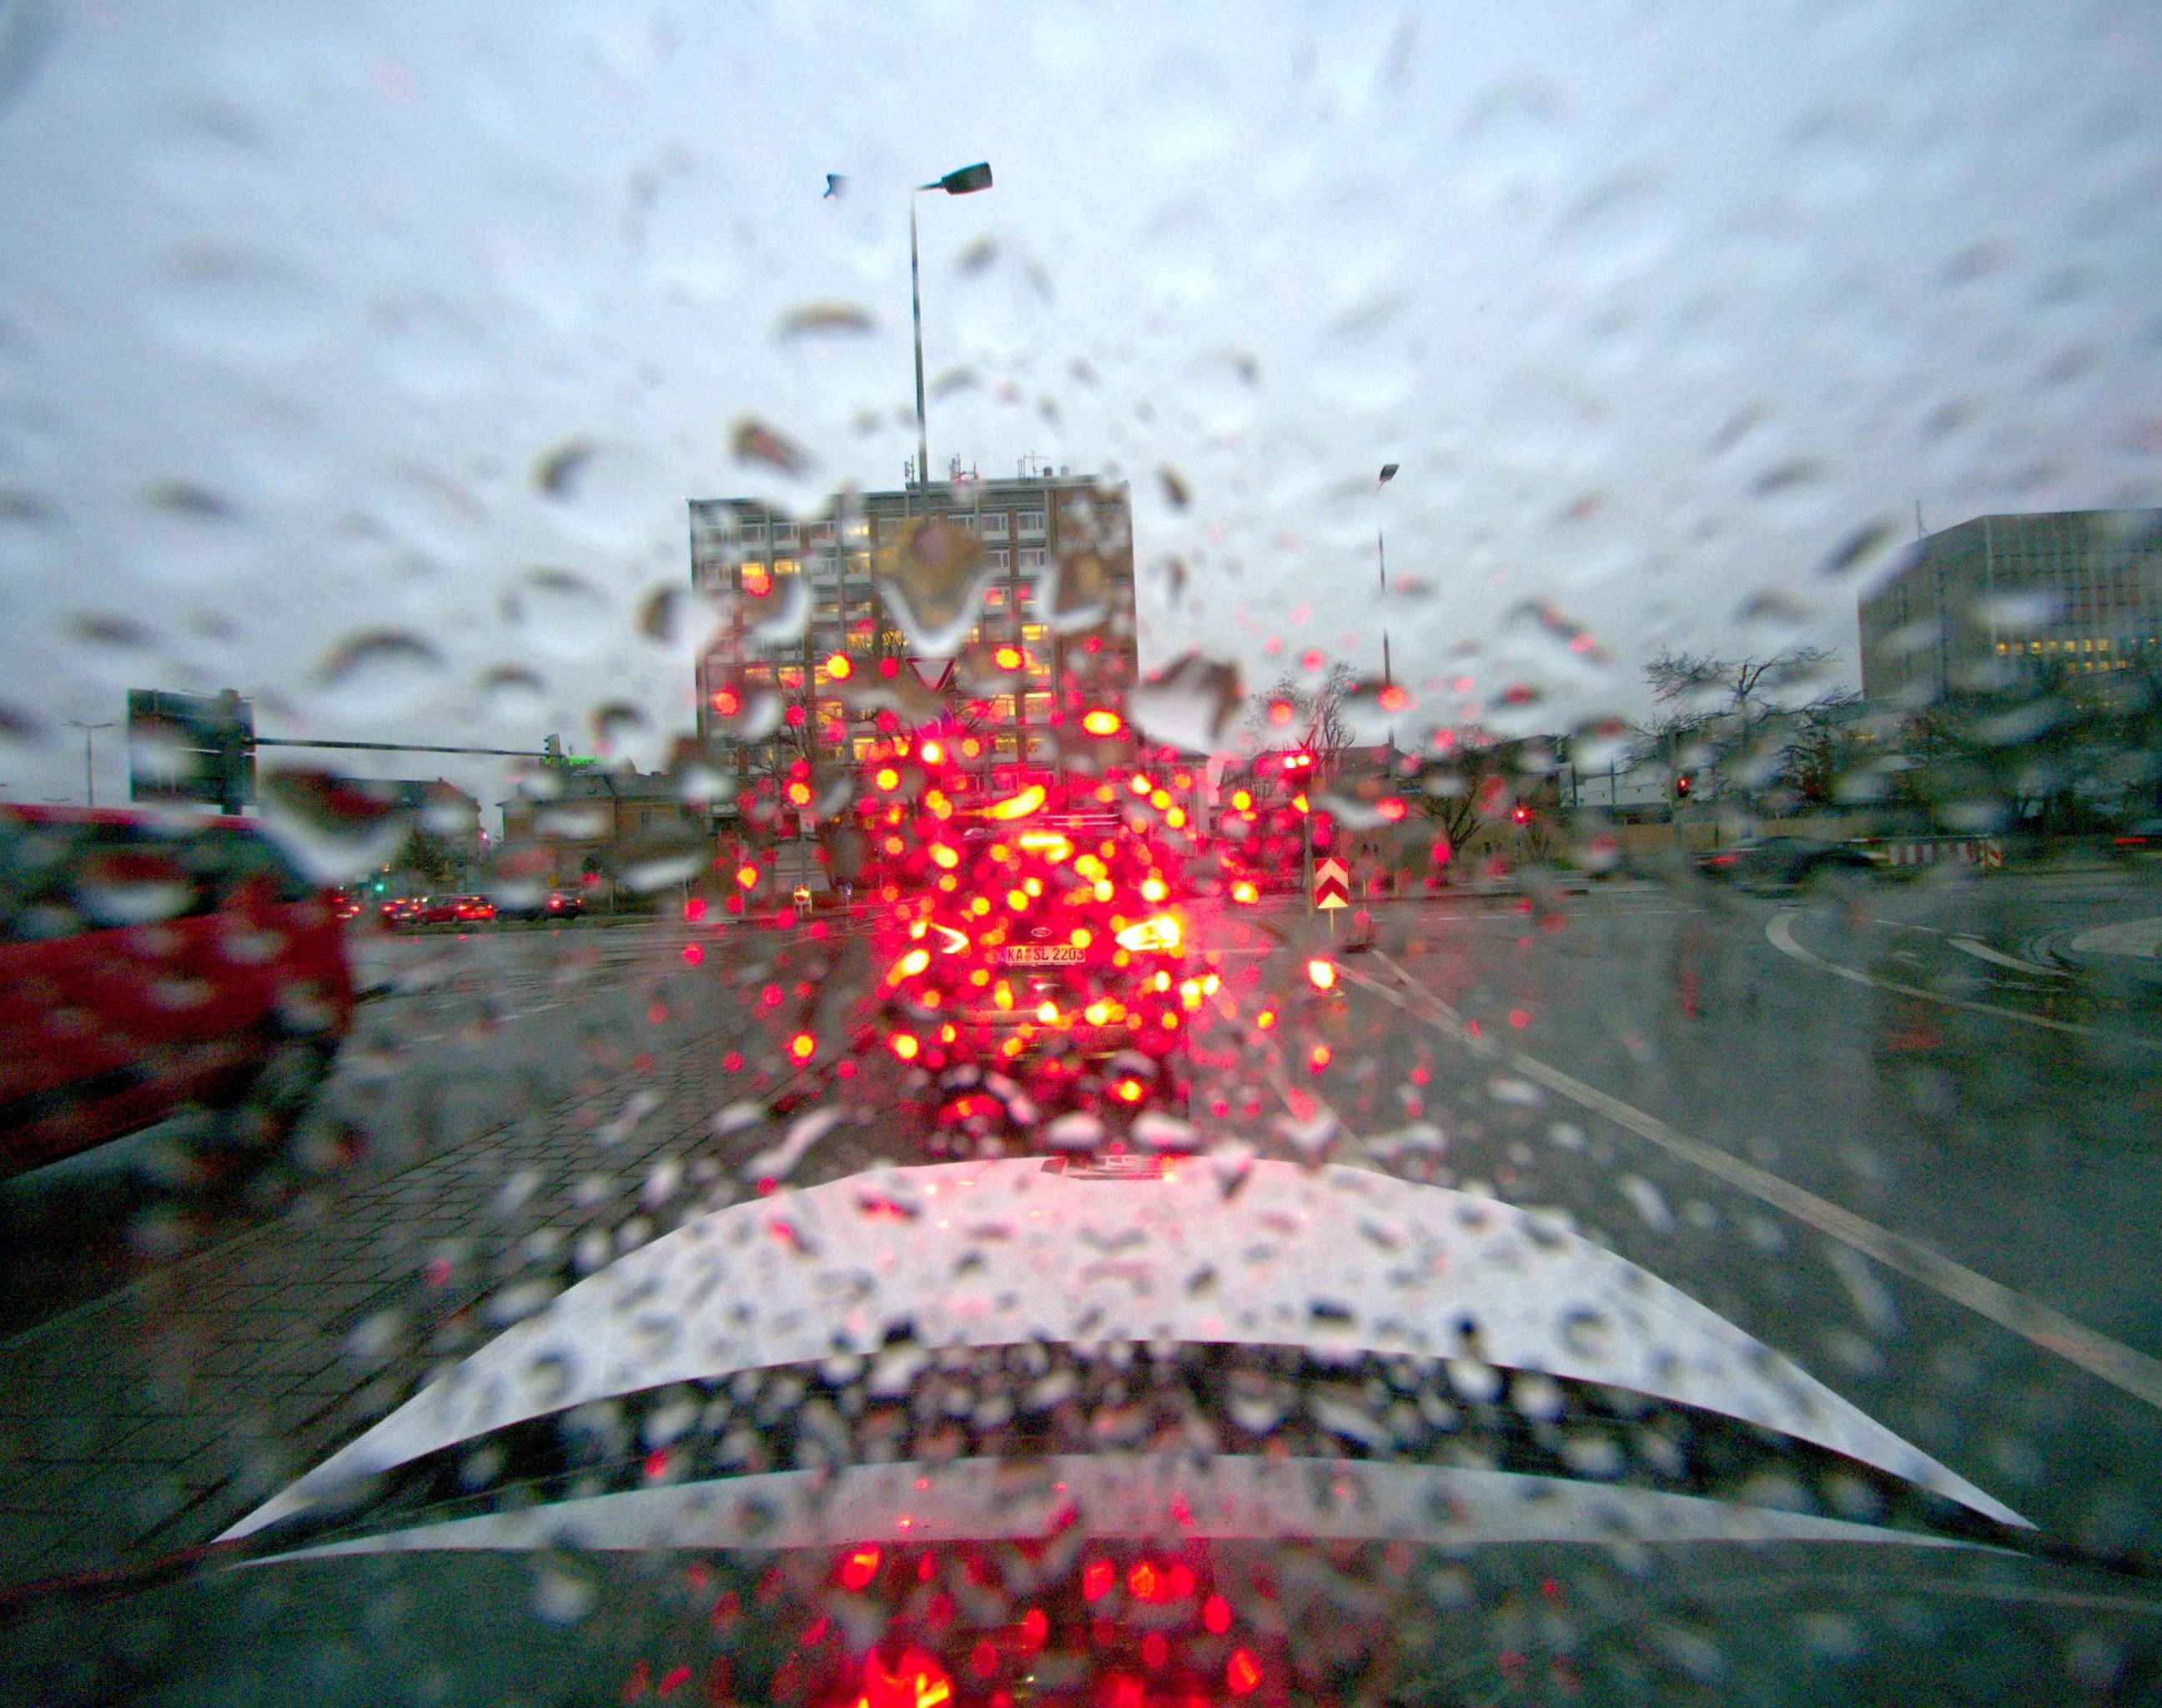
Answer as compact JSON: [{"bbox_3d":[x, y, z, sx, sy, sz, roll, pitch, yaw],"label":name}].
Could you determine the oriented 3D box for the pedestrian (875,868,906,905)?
[{"bbox_3d":[-10.097,1.723,43.194,0.992,1.842,1.146,-3,2,25],"label":"pedestrian"}]

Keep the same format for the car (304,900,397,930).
[{"bbox_3d":[-43.819,3.631,48.920,1.582,1.482,3.840,-1,-1,31],"label":"car"}]

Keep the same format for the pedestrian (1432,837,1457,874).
[{"bbox_3d":[18.512,0.087,41.522,0.988,1.799,0.924,-3,0,19],"label":"pedestrian"}]

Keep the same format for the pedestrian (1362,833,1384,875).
[{"bbox_3d":[14.975,-0.016,41.822,0.887,2.113,0.889,-3,0,13],"label":"pedestrian"}]

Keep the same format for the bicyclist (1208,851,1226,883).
[{"bbox_3d":[7.024,0.690,42.082,0.678,1.599,0.663,-3,0,23],"label":"bicyclist"}]

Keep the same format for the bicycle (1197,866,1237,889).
[{"bbox_3d":[7.043,1.208,42.094,1.866,1.048,0.663,-3,0,23],"label":"bicycle"}]

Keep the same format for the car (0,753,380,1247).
[{"bbox_3d":[-5.540,0.661,3.412,1.926,2.070,4.622,-3,0,-13],"label":"car"}]

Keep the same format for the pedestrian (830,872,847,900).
[{"bbox_3d":[-14.896,1.951,50.026,0.634,1.688,0.640,-3,0,18],"label":"pedestrian"}]

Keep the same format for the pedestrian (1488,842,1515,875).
[{"bbox_3d":[20.683,0.216,40.097,0.917,1.533,1.047,-3,0,15],"label":"pedestrian"}]

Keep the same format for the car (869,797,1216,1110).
[{"bbox_3d":[-0.162,0.591,6.690,1.986,1.789,4.001,0,-1,2],"label":"car"}]

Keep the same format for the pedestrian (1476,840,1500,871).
[{"bbox_3d":[20.599,0.076,41.241,0.886,1.533,0.890,-3,0,19],"label":"pedestrian"}]

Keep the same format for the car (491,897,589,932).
[{"bbox_3d":[-26.924,2.994,40.558,3.959,1.568,1.833,-1,-1,13],"label":"car"}]

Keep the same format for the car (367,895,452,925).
[{"bbox_3d":[-38.401,3.183,46.622,1.496,1.461,3.453,-1,-1,31],"label":"car"}]

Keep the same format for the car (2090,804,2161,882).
[{"bbox_3d":[23.860,-0.322,16.516,4.101,1.582,1.845,-3,-1,7],"label":"car"}]

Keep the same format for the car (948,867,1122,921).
[{"bbox_3d":[-1.315,1.150,23.916,4.651,1.302,1.946,-3,-1,13],"label":"car"}]

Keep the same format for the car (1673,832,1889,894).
[{"bbox_3d":[17.454,0.231,20.484,3.732,1.302,1.706,-3,-1,9],"label":"car"}]

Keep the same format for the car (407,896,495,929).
[{"bbox_3d":[-33.327,3.063,43.078,3.954,1.568,1.836,-1,-1,20],"label":"car"}]

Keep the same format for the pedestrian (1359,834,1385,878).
[{"bbox_3d":[14.545,0.084,40.726,0.890,2.113,0.886,-3,0,2],"label":"pedestrian"}]

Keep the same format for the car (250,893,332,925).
[{"bbox_3d":[-51.143,3.541,52.762,1.649,1.826,3.609,-1,-1,39],"label":"car"}]
